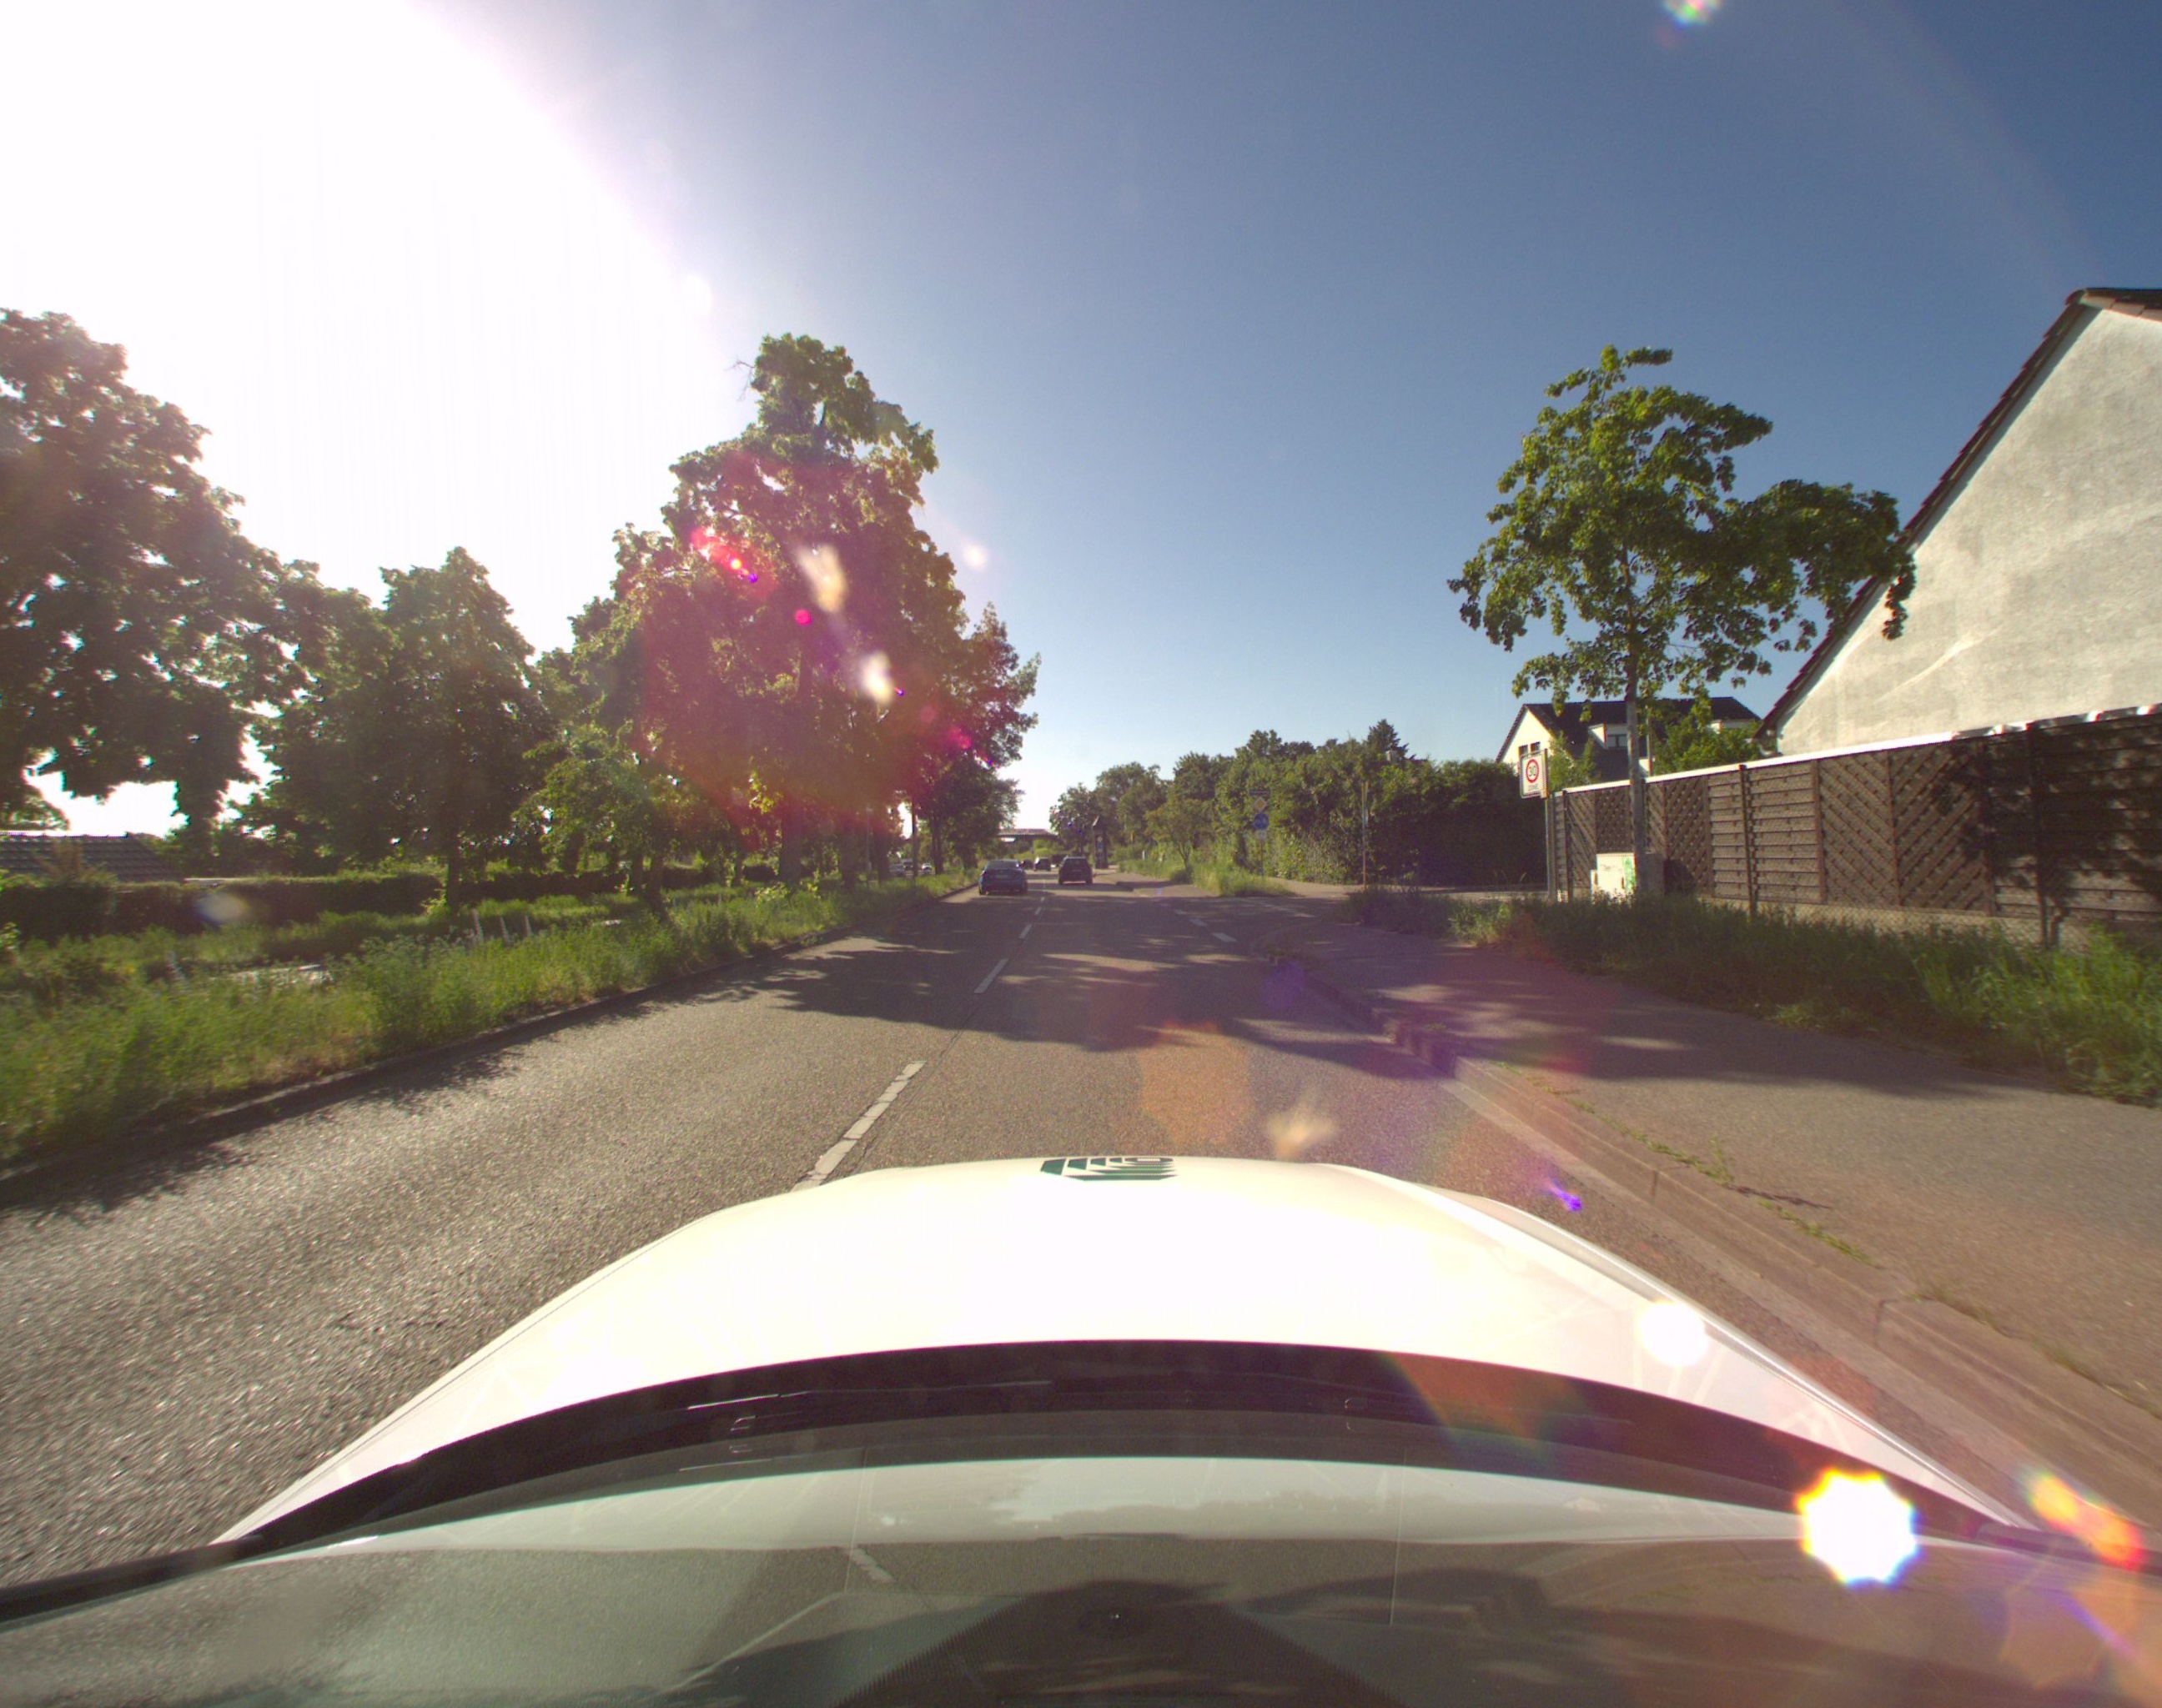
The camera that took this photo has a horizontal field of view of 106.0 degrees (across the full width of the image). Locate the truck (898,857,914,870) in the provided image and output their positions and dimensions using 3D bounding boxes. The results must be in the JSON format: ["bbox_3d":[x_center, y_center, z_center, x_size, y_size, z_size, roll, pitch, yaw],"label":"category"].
[{"bbox_3d":[-36.835,2.032,171.466,2.181,2.512,5.701,-4,0,-21],"label":"truck"}]

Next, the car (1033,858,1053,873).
[{"bbox_3d":[-4.216,1.285,90.563,1.743,1.597,4.162,-2,0,-9],"label":"car"}]

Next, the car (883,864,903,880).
[{"bbox_3d":[-19.383,1.817,84.006,1.693,1.436,4.921,-4,0,-11],"label":"car"}]

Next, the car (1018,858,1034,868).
[{"bbox_3d":[-8.035,1.354,119.185,1.898,1.356,3.987,-2,0,-10],"label":"car"}]

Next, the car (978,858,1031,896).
[{"bbox_3d":[-3.100,0.901,33.791,1.991,1.405,3.995,-2,0,-4],"label":"car"}]

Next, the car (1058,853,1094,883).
[{"bbox_3d":[-0.306,0.767,43.763,1.756,1.559,3.995,-1,-1,-3],"label":"car"}]

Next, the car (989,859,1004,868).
[{"bbox_3d":[-12.311,1.377,119.109,1.898,1.356,3.987,-2,0,-10],"label":"car"}]
